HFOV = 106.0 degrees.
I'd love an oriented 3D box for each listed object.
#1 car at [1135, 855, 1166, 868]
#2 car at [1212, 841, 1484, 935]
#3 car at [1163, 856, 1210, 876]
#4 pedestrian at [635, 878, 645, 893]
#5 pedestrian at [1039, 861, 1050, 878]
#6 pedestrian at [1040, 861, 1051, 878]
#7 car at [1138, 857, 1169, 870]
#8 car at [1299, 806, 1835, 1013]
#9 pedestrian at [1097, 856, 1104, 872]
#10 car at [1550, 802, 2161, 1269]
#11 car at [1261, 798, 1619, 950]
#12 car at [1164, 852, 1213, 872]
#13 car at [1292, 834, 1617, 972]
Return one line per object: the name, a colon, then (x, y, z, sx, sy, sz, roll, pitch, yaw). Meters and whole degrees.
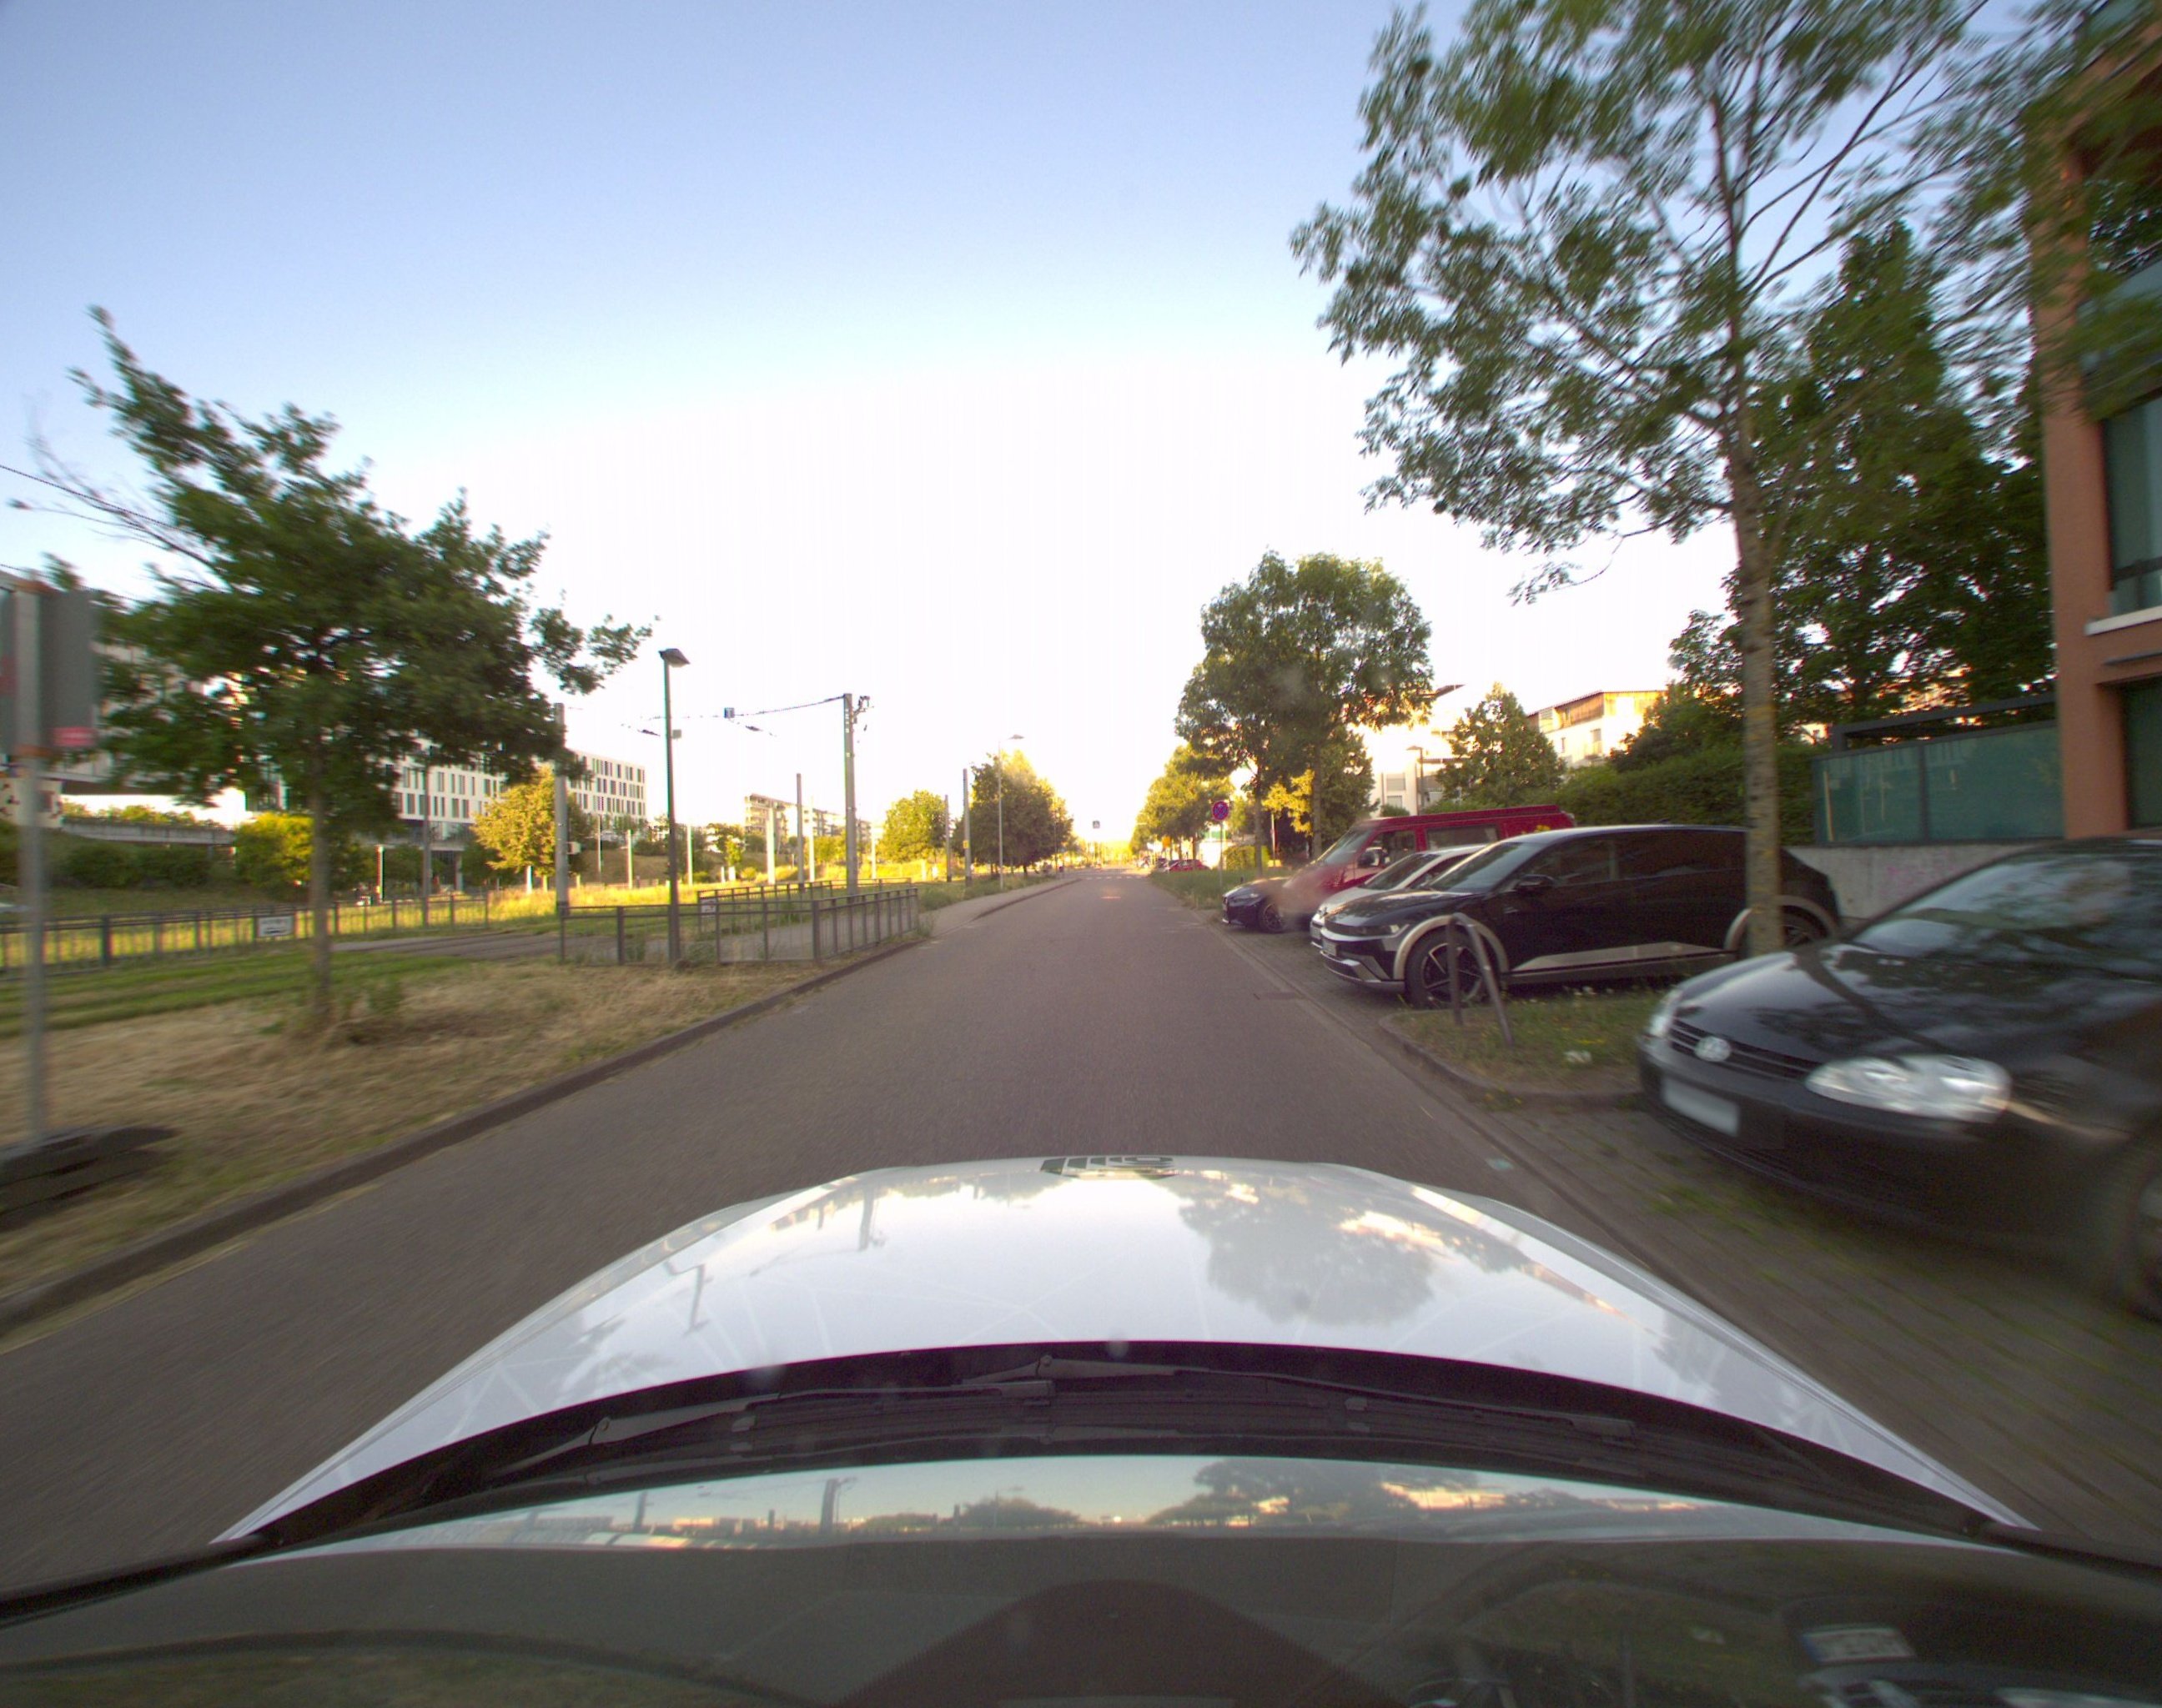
car: (11.985, 1.312, 140.412, 4.990, 2.045, 2.248, -2, -1, -2)
car: (4.999, 0.636, 15.760, 4.649, 1.556, 1.813, -2, -1, 3)
car: (9.014, 1.037, 69.639, 3.789, 1.508, 1.679, -2, -1, 0)
pedestrian: (-55.823, 3.970, 103.067, 0.783, 1.786, 0.815, -2, -1, 6)
pedestrian: (-3.760, 1.558, 84.069, 1.018, 1.693, 0.757, -2, -1, -10)
pedestrian: (-3.687, 1.586, 84.802, 0.983, 1.693, 0.698, -2, -1, -9)
car: (10.411, 1.359, 117.269, 4.465, 1.596, 2.002, -2, -1, 3)
car: (4.536, 0.507, 8.149, 4.198, 1.569, 1.794, -4, -1, 2)
pedestrian: (2.618, 1.327, 108.898, 0.841, 2.014, 0.946, -2, -1, 8)
car: (4.327, 0.586, 3.415, 3.759, 1.496, 1.540, -2, -3, 2)
car: (5.598, 0.319, 13.285, 4.898, 2.117, 2.019, -2, -1, 3)
car: (8.759, 0.671, 66.775, 3.789, 1.508, 1.679, -2, -1, 0)
car: (4.777, 0.610, 10.806, 3.511, 1.465, 1.616, -4, -1, 2)
